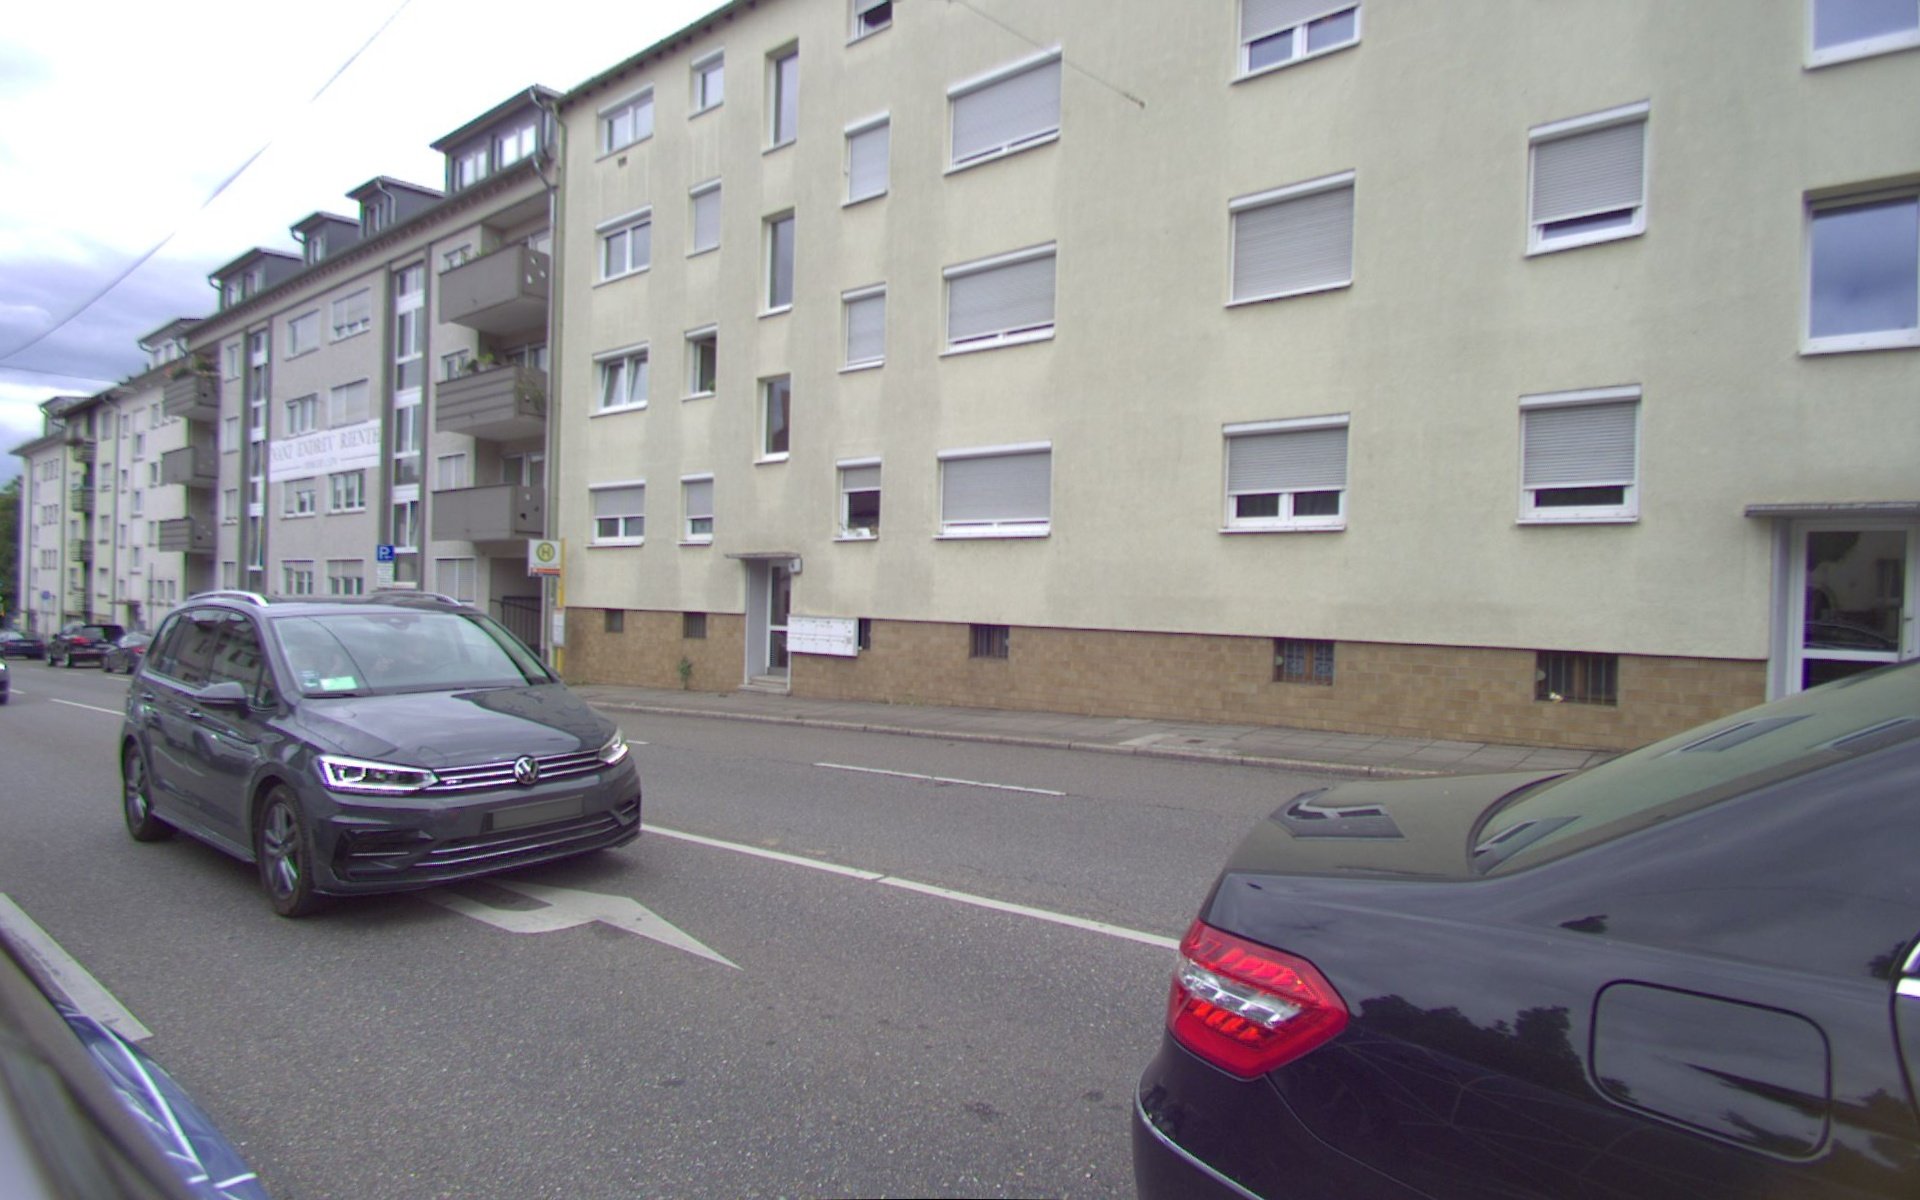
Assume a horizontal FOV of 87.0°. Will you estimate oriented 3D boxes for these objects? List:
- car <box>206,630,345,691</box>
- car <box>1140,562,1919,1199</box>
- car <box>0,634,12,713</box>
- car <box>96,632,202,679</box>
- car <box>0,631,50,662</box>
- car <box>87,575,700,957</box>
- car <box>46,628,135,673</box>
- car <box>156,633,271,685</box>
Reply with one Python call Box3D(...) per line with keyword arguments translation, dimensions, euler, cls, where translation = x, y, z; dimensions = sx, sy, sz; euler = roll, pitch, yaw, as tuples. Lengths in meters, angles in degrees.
Box3D(translation=(-17.567, 1.520, 25.935), dimensions=(3.680, 1.422, 1.755), euler=(-1, -3, 36), cls="car")
Box3D(translation=(2.740, 0.654, 0.682), dimensions=(4.840, 1.439, 1.973), euler=(-2, -1, 41), cls="car")
Box3D(translation=(-18.645, 1.300, 18.401), dimensions=(4.148, 1.365, 1.856), euler=(-2, -2, 44), cls="car")
Box3D(translation=(-26.217, 1.768, 32.688), dimensions=(3.533, 1.414, 1.755), euler=(-1, -3, 36), cls="car")
Box3D(translation=(-46.150, 2.263, 49.435), dimensions=(3.752, 1.414, 1.755), euler=(-1, -3, 36), cls="car")
Box3D(translation=(-3.796, 0.718, 6.420), dimensions=(4.474, 1.623, 1.840), euler=(-1, 0, 38), cls="car")
Box3D(translation=(-33.174, 1.883, 38.584), dimensions=(3.533, 1.613, 1.755), euler=(-1, -3, 36), cls="car")
Box3D(translation=(-21.430, 1.655, 29.023), dimensions=(3.533, 1.386, 1.649), euler=(-1, -3, 36), cls="car")
